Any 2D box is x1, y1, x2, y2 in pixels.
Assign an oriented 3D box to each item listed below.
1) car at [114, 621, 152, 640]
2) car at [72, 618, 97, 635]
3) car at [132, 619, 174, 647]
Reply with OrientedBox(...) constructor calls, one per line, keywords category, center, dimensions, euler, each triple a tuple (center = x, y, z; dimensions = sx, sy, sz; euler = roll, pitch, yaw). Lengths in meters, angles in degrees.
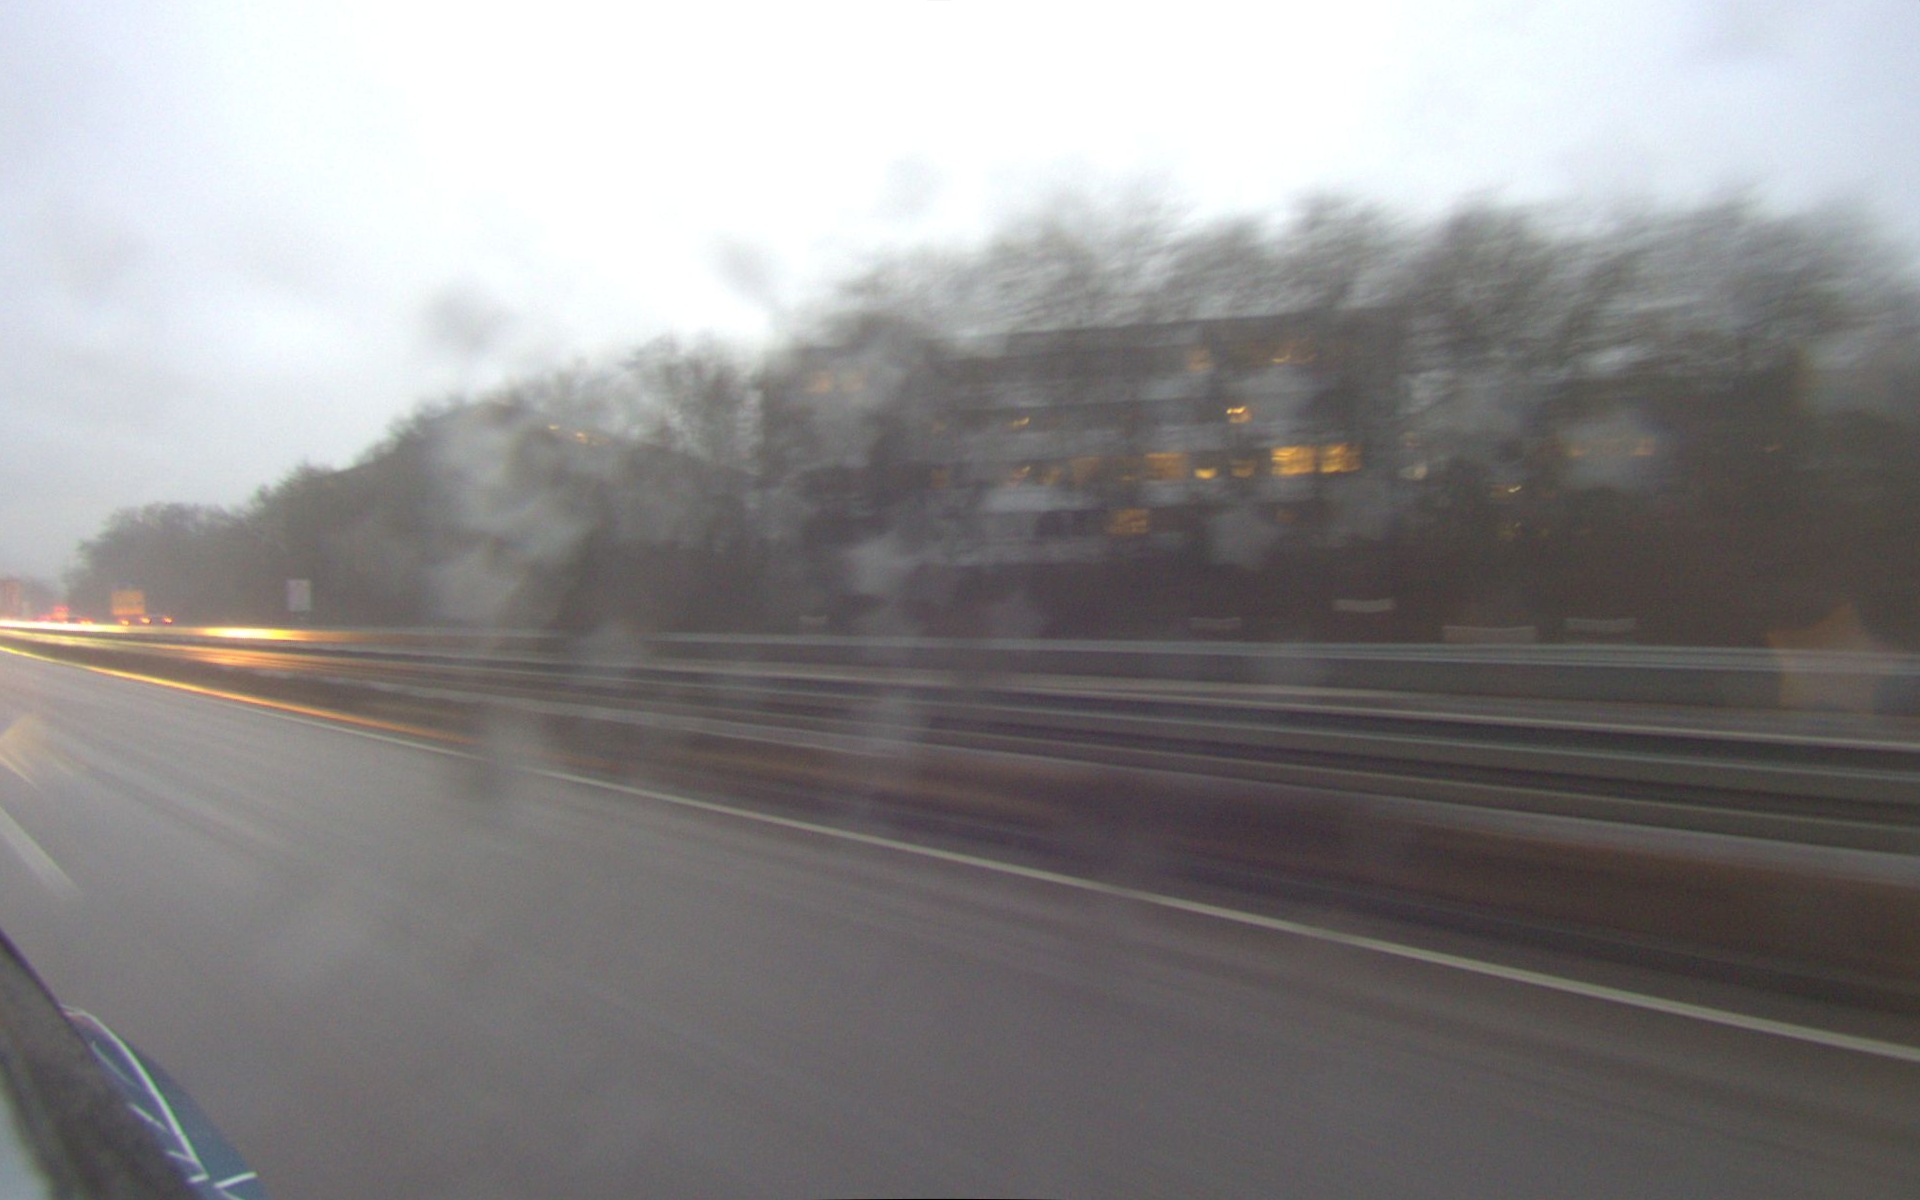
OrientedBox(category="car", center=(-74.812, 2.756, 91.539), dimensions=(4.472, 1.692, 1.972), euler=(-2, -3, 43))
OrientedBox(category="car", center=(-101.463, 3.028, 117.317), dimensions=(1.970, 1.766, 4.904), euler=(-4, 2, -42))
OrientedBox(category="car", center=(-56.946, 2.290, 71.362), dimensions=(4.206, 1.799, 1.626), euler=(-2, 2, 43))
